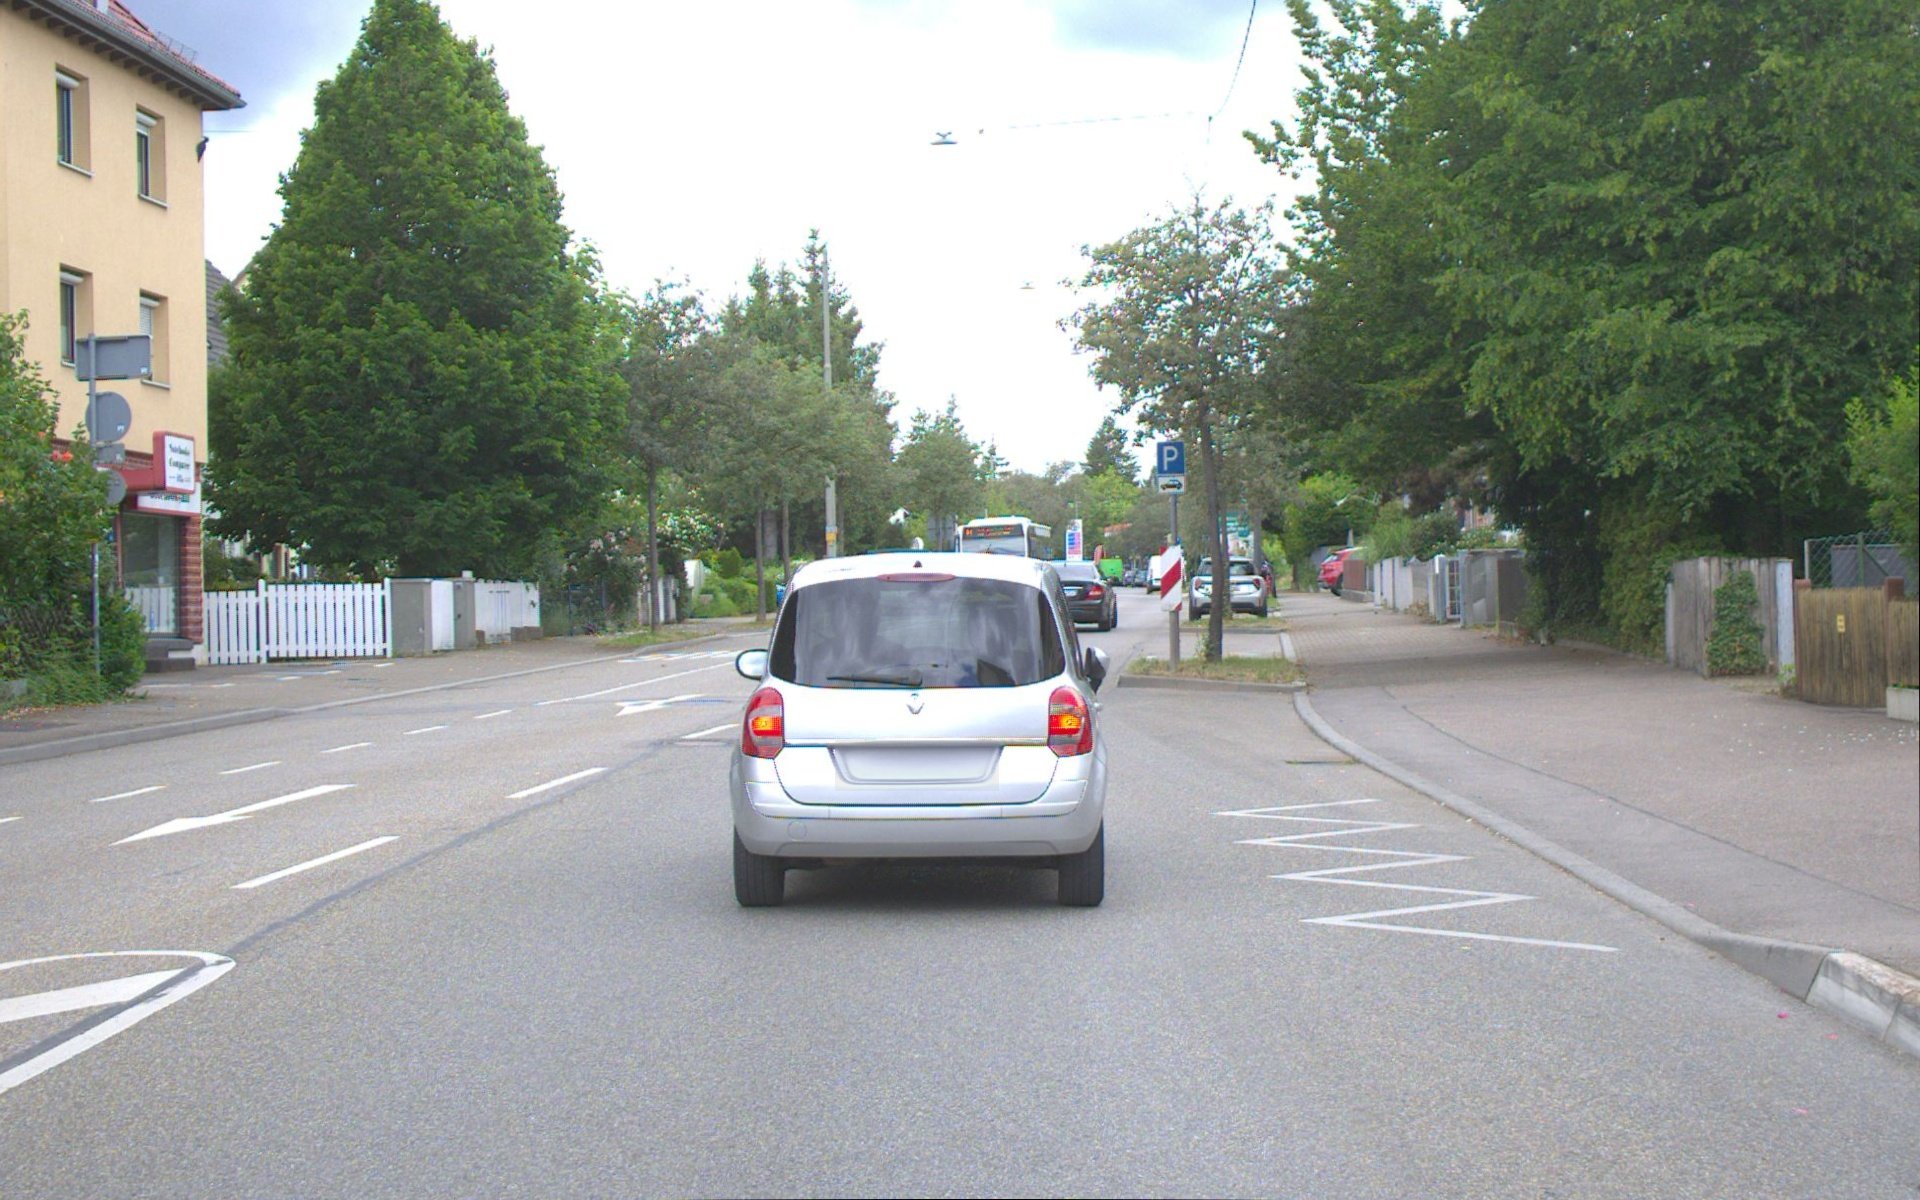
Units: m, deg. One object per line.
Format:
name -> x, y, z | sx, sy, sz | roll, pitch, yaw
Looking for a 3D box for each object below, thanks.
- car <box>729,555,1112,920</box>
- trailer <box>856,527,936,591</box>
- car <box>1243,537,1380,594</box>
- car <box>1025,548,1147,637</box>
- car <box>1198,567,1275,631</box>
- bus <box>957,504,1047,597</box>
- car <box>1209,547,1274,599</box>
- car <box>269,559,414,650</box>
car -> -0.161, 0.594, 16.621 | 1.630, 1.551, 4.000 | 0, 0, 0
trailer -> -2.138, -1.368, 116.948 | 2.312, 2.079, 5.872 | 0, 0, 3
car -> 11.143, -1.079, 109.066 | 3.986, 1.491, 1.810 | -4, 0, -4
car -> 2.529, -0.152, 68.081 | 1.830, 1.670, 3.572 | -1, 0, 11
car -> 6.194, -0.018, 76.844 | 1.650, 1.378, 3.999 | -1, 0, 5
bus -> 1.618, -1.780, 125.128 | 2.632, 3.075, 12.068 | -3, 1, 3
car -> 7.860, -0.754, 95.719 | 1.663, 1.388, 3.667 | -1, 1, 7
car -> -11.855, 0.059, 66.141 | 1.806, 1.559, 4.618 | -4, 1, 1
